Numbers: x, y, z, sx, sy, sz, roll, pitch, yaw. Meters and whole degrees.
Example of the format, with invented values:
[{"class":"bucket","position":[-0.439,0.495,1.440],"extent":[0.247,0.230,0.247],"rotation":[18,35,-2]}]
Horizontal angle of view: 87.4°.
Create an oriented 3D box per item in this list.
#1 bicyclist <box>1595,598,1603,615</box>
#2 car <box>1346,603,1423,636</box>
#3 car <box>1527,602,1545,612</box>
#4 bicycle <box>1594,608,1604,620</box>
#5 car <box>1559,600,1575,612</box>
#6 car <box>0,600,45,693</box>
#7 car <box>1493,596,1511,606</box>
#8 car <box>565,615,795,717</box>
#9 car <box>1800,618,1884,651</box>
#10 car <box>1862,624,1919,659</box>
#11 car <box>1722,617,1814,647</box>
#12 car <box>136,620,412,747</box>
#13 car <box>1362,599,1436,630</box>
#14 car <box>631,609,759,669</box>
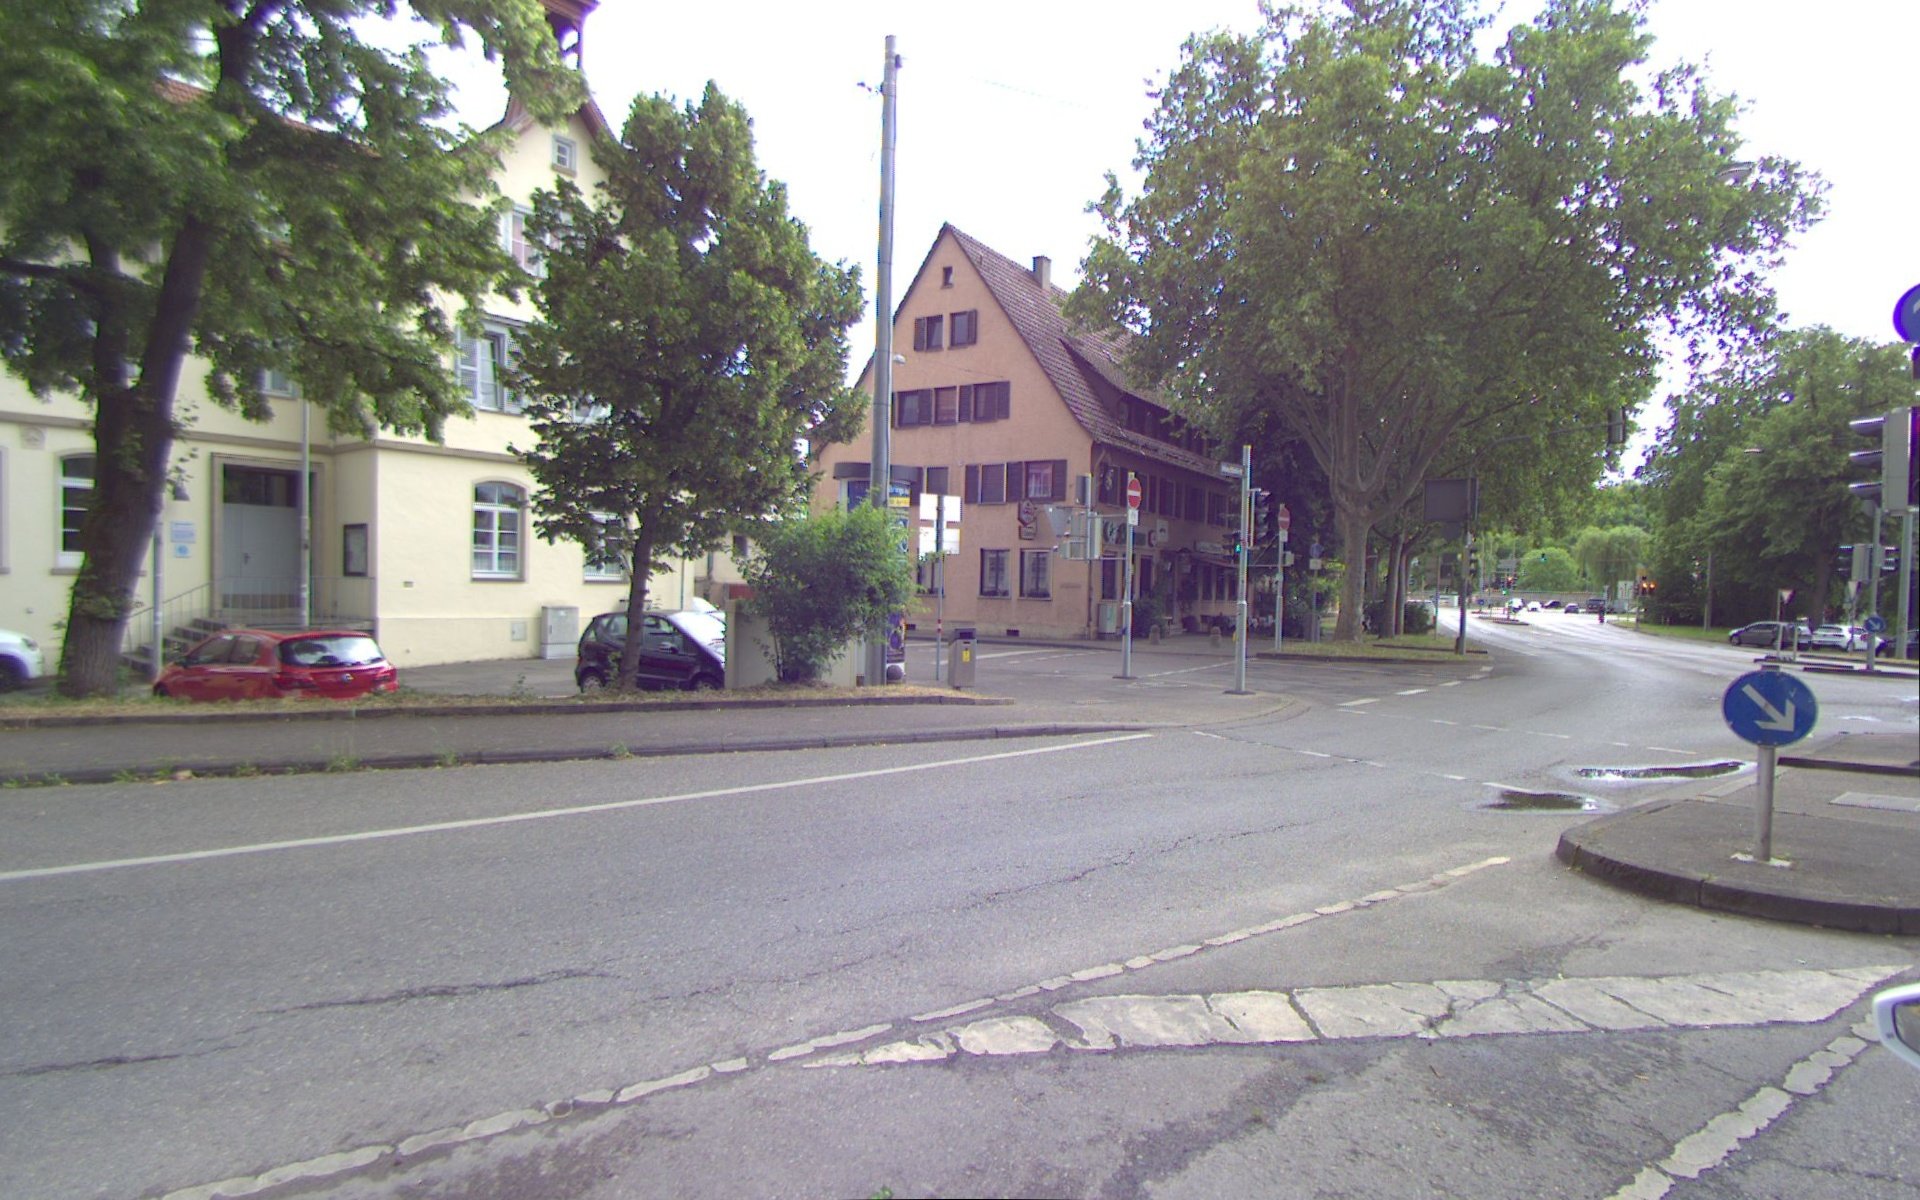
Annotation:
[{"class":"bicyclist","position":[52.848,0.551,83.081],"extent":[0.532,1.360,0.713],"rotation":[2,1,29]},{"class":"car","position":[24.338,1.101,57.590],"extent":[3.924,1.706,1.999],"rotation":[1,0,25]},{"class":"car","position":[89.853,1.096,156.631],"extent":[1.469,1.436,3.028],"rotation":[3,0,11]},{"class":"bicycle","position":[52.857,1.157,83.114],"extent":[0.548,0.971,2.029],"rotation":[2,0,29]},{"class":"car","position":[94.697,0.951,156.724],"extent":[1.963,1.617,3.995],"rotation":[2,0,28]},{"class":"car","position":[-16.984,0.735,15.941],"extent":[1.585,1.499,3.422],"rotation":[2,0,38]},{"class":"car","position":[85.215,0.113,157.927],"extent":[1.553,1.506,3.337],"rotation":[3,0,11]},{"class":"car","position":[-4.730,1.037,16.979],"extent":[3.507,1.459,1.645],"rotation":[2,0,26]},{"class":"car","position":[47.843,1.873,54.490],"extent":[3.697,1.662,1.858],"rotation":[2,0,-19]},{"class":"car","position":[39.971,1.735,41.835],"extent":[1.746,1.370,3.326],"rotation":[2,0,-3]},{"class":"car","position":[44.193,1.714,55.028],"extent":[1.592,1.485,3.778],"rotation":[2,0,-11]},{"class":"car","position":[-9.429,1.047,13.779],"extent":[3.652,1.401,1.659],"rotation":[2,0,29]},{"class":"car","position":[26.047,0.850,59.686],"extent":[3.924,1.706,1.999],"rotation":[1,0,25]},{"class":"car","position":[-8.225,1.186,31.046],"extent":[3.937,1.625,1.775],"rotation":[2,-1,38]}]
